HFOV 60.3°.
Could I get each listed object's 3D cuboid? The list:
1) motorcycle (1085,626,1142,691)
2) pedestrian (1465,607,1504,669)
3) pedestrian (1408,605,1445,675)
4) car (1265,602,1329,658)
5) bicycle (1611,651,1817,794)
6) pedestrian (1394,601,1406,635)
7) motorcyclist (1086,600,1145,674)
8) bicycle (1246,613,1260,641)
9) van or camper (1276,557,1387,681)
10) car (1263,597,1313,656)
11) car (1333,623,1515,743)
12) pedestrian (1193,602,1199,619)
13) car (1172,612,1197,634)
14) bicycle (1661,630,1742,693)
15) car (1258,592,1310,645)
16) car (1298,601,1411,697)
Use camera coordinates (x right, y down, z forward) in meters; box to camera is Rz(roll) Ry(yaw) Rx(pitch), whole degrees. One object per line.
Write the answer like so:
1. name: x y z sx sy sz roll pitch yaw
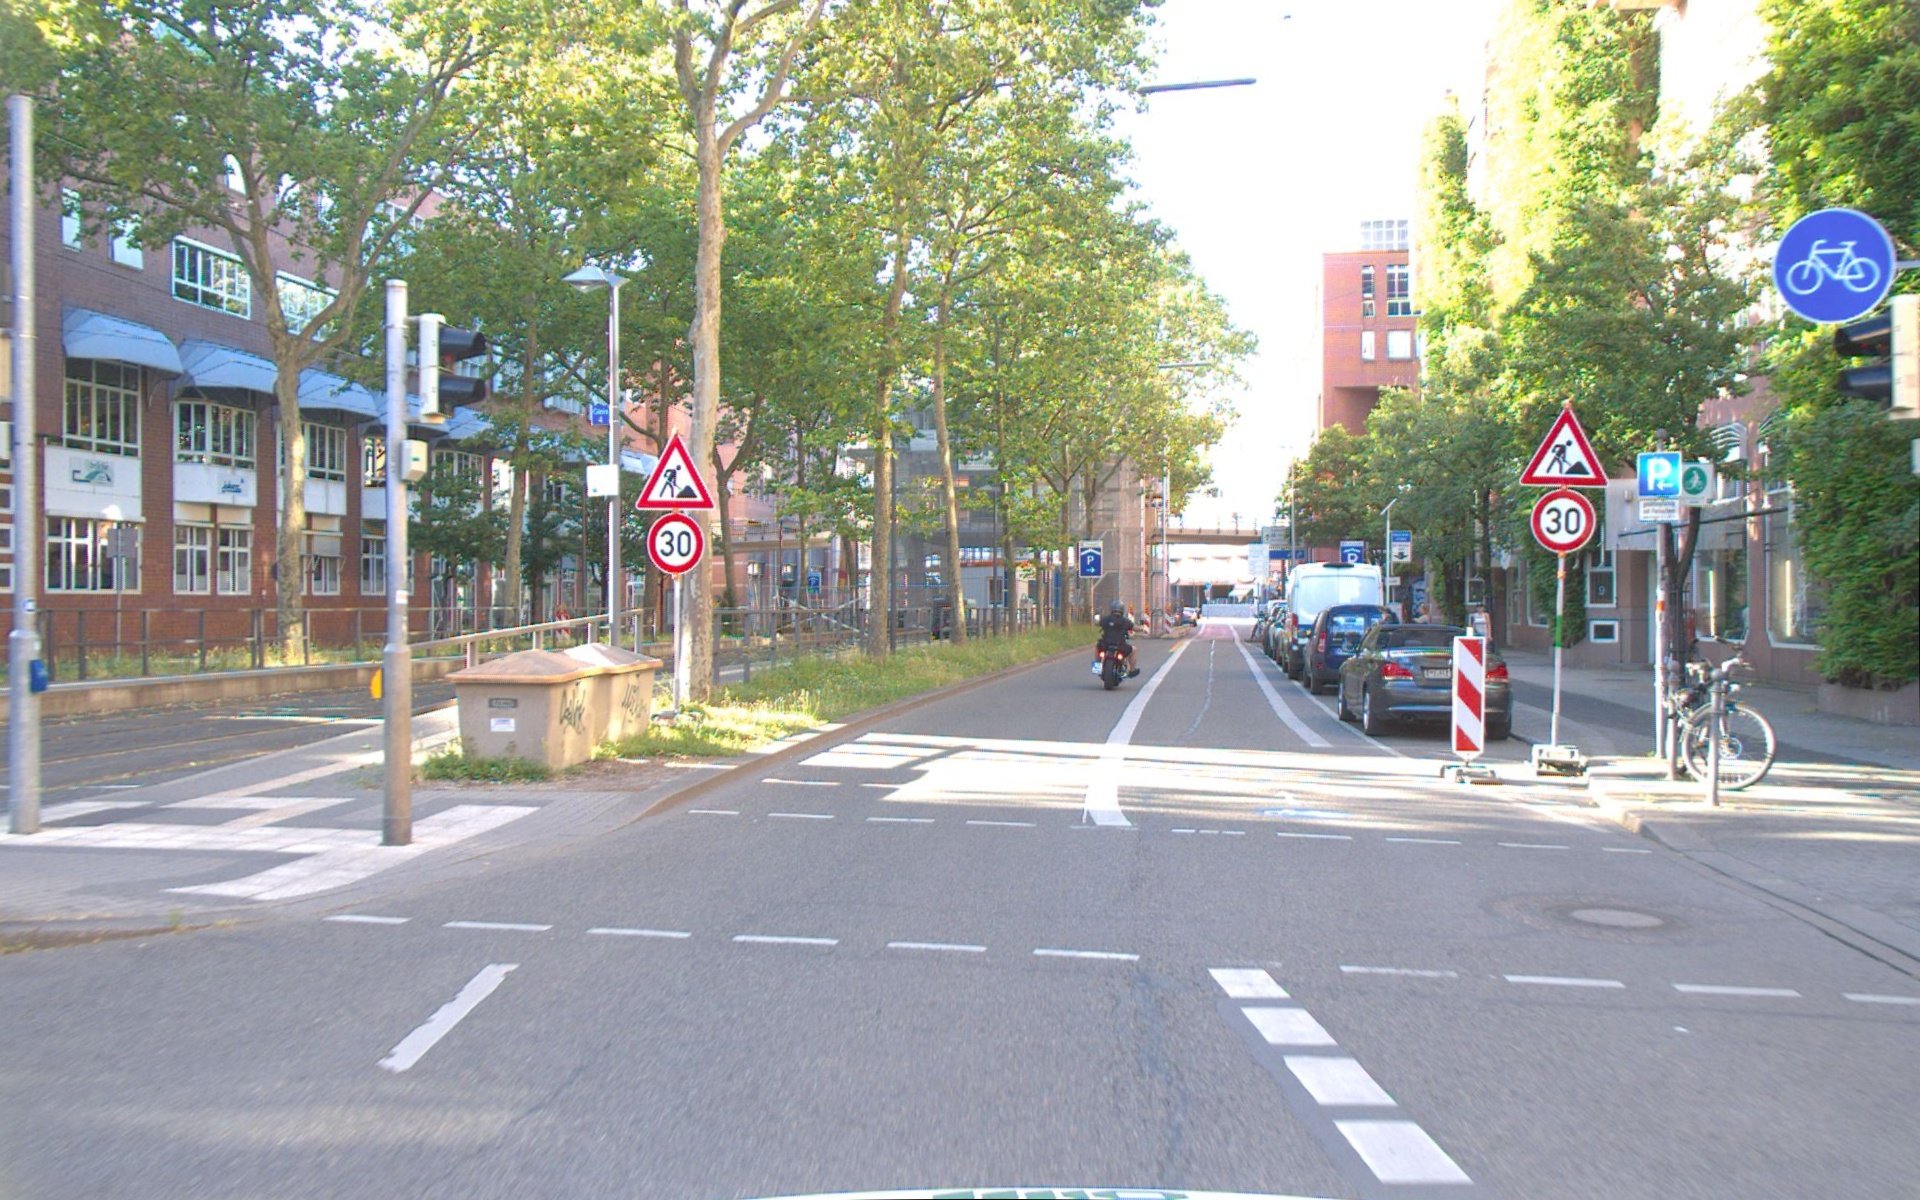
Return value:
1. motorcycle: 2.813 1.047 30.190 0.996 1.116 2.009 0 0 6
2. pedestrian: 12.674 0.910 39.944 0.751 1.471 0.779 0 -1 29
3. pedestrian: 11.227 0.969 39.832 0.747 1.673 0.547 0 0 1
4. car: 10.272 0.890 50.622 1.586 1.638 3.777 0 0 6
5. bicycle: 6.351 0.998 14.036 0.724 1.071 1.748 0 0 -11
6. pedestrian: 21.604 0.863 81.254 0.441 1.655 0.374 0 0 -7
7. motorcyclist: 2.835 0.663 30.075 0.990 1.285 0.774 2 0 7
8. bicycle: 13.930 1.276 78.720 0.649 1.256 2.230 0 0 9
9. van or camper: 8.359 0.406 37.660 2.005 2.585 5.777 0 0 8
10. car: 10.924 0.845 55.202 1.585 1.898 3.777 0 0 11
11. car: 5.813 0.981 21.166 1.586 1.325 4.315 0 0 7
12. pedestrian: 26.273 1.206 184.153 0.530 1.915 0.529 0 0 5
13. car: 18.145 1.832 133.671 1.812 1.747 4.002 0 0 5
14. bicycle: 13.097 1.067 29.270 0.605 1.038 1.914 0 0 1
15. car: 13.111 0.727 67.178 1.796 2.049 4.391 0 0 8
16. car: 7.252 0.842 30.735 1.585 1.648 4.488 0 0 8
